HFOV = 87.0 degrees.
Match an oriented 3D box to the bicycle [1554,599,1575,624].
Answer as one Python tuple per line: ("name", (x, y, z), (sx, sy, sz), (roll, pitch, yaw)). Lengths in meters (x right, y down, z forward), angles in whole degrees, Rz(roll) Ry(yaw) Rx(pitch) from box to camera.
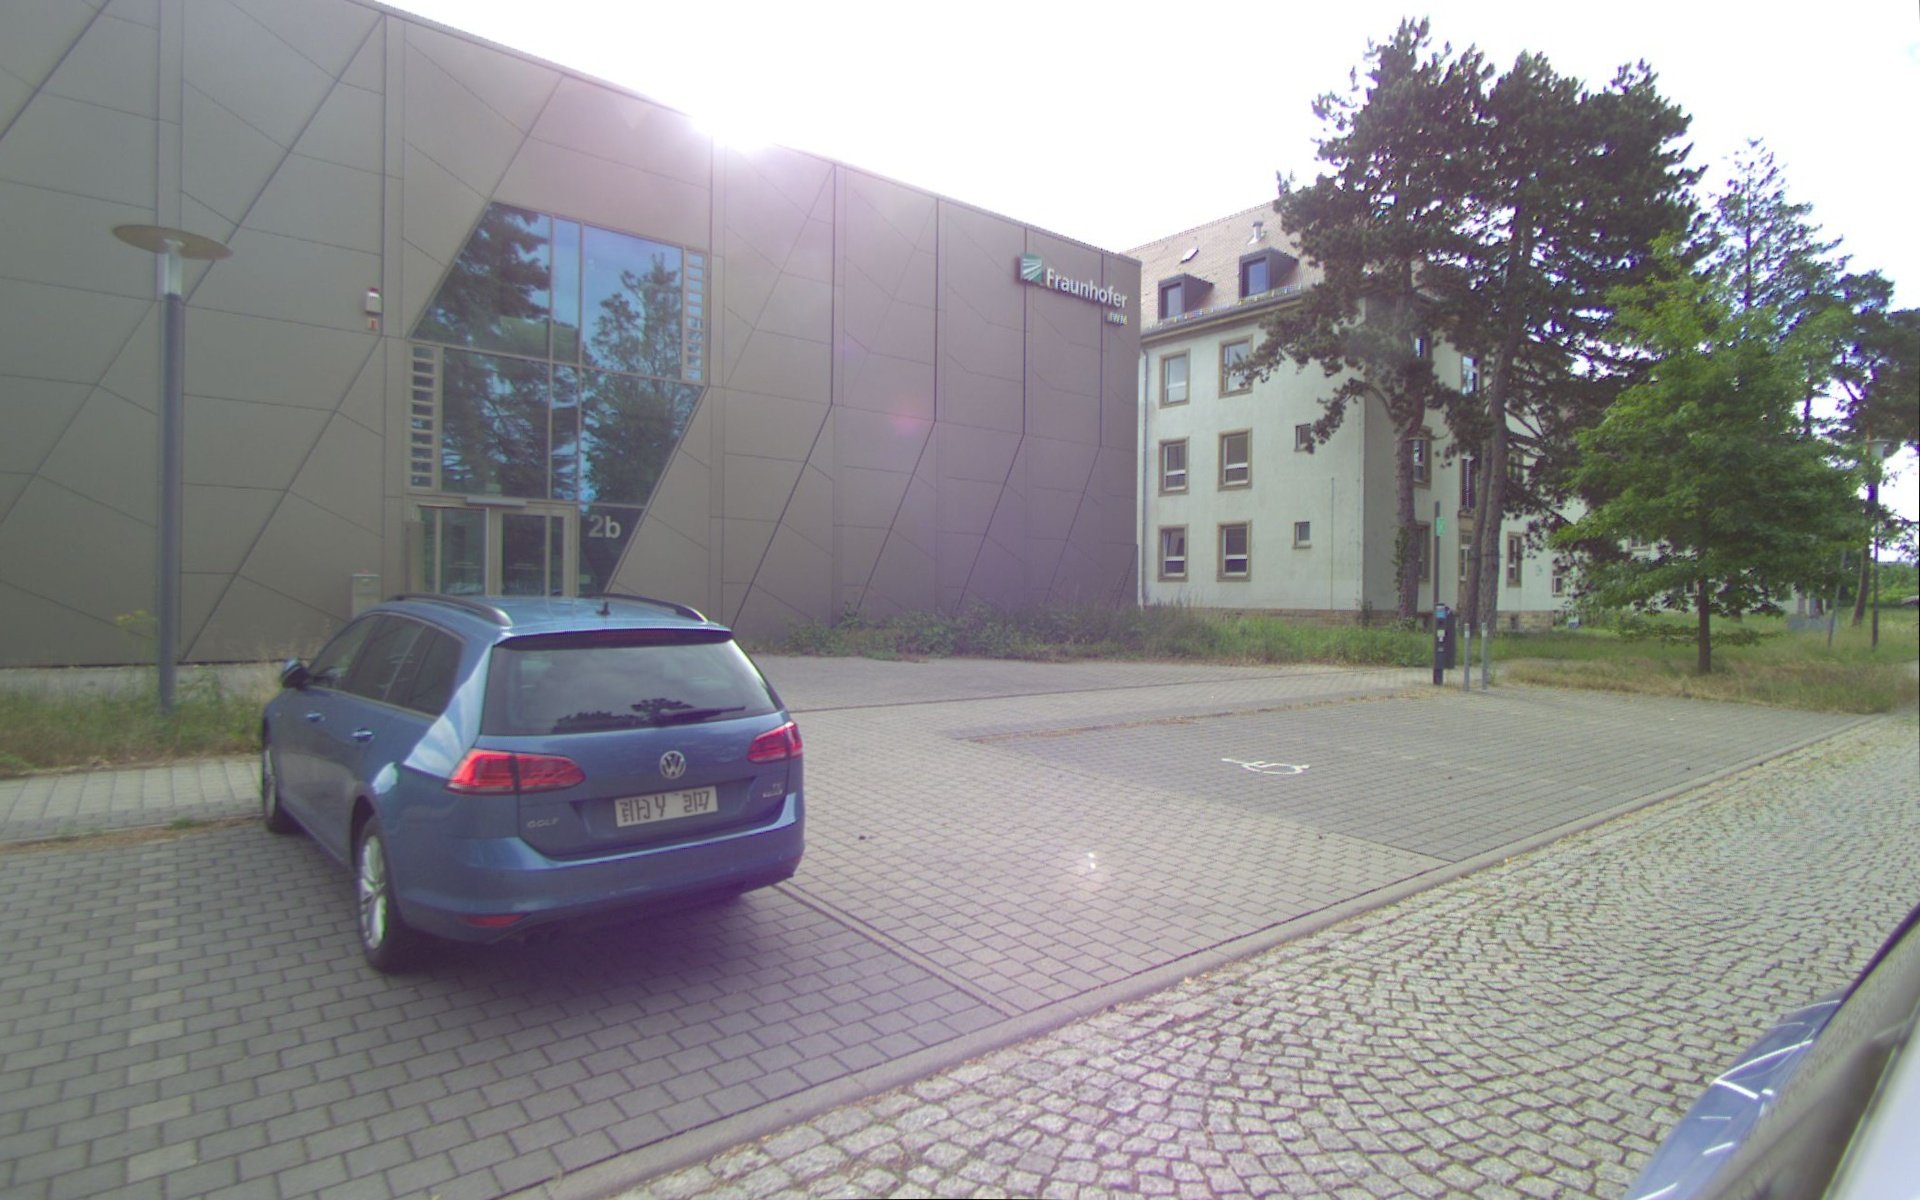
("bicycle", (32.864, 0.628, 55.010), (1.808, 1.349, 0.571), (1, 0, -45))

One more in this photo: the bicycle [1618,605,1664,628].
("bicycle", (34.252, 0.801, 50.927), (0.562, 1.098, 1.837), (-1, 1, -36))

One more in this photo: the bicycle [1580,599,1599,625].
("bicycle", (33.657, 0.630, 54.113), (1.808, 1.349, 0.481), (1, 0, -45))

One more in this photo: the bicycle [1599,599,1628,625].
("bicycle", (34.441, 0.642, 53.304), (1.802, 1.349, 0.573), (1, 0, -32))

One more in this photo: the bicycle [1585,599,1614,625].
("bicycle", (33.961, 0.623, 53.719), (1.802, 1.349, 0.573), (1, 0, -32))

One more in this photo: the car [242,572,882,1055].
("car", (-2.536, 0.649, 5.570), (1.792, 1.461, 4.529), (0, 2, -42))
